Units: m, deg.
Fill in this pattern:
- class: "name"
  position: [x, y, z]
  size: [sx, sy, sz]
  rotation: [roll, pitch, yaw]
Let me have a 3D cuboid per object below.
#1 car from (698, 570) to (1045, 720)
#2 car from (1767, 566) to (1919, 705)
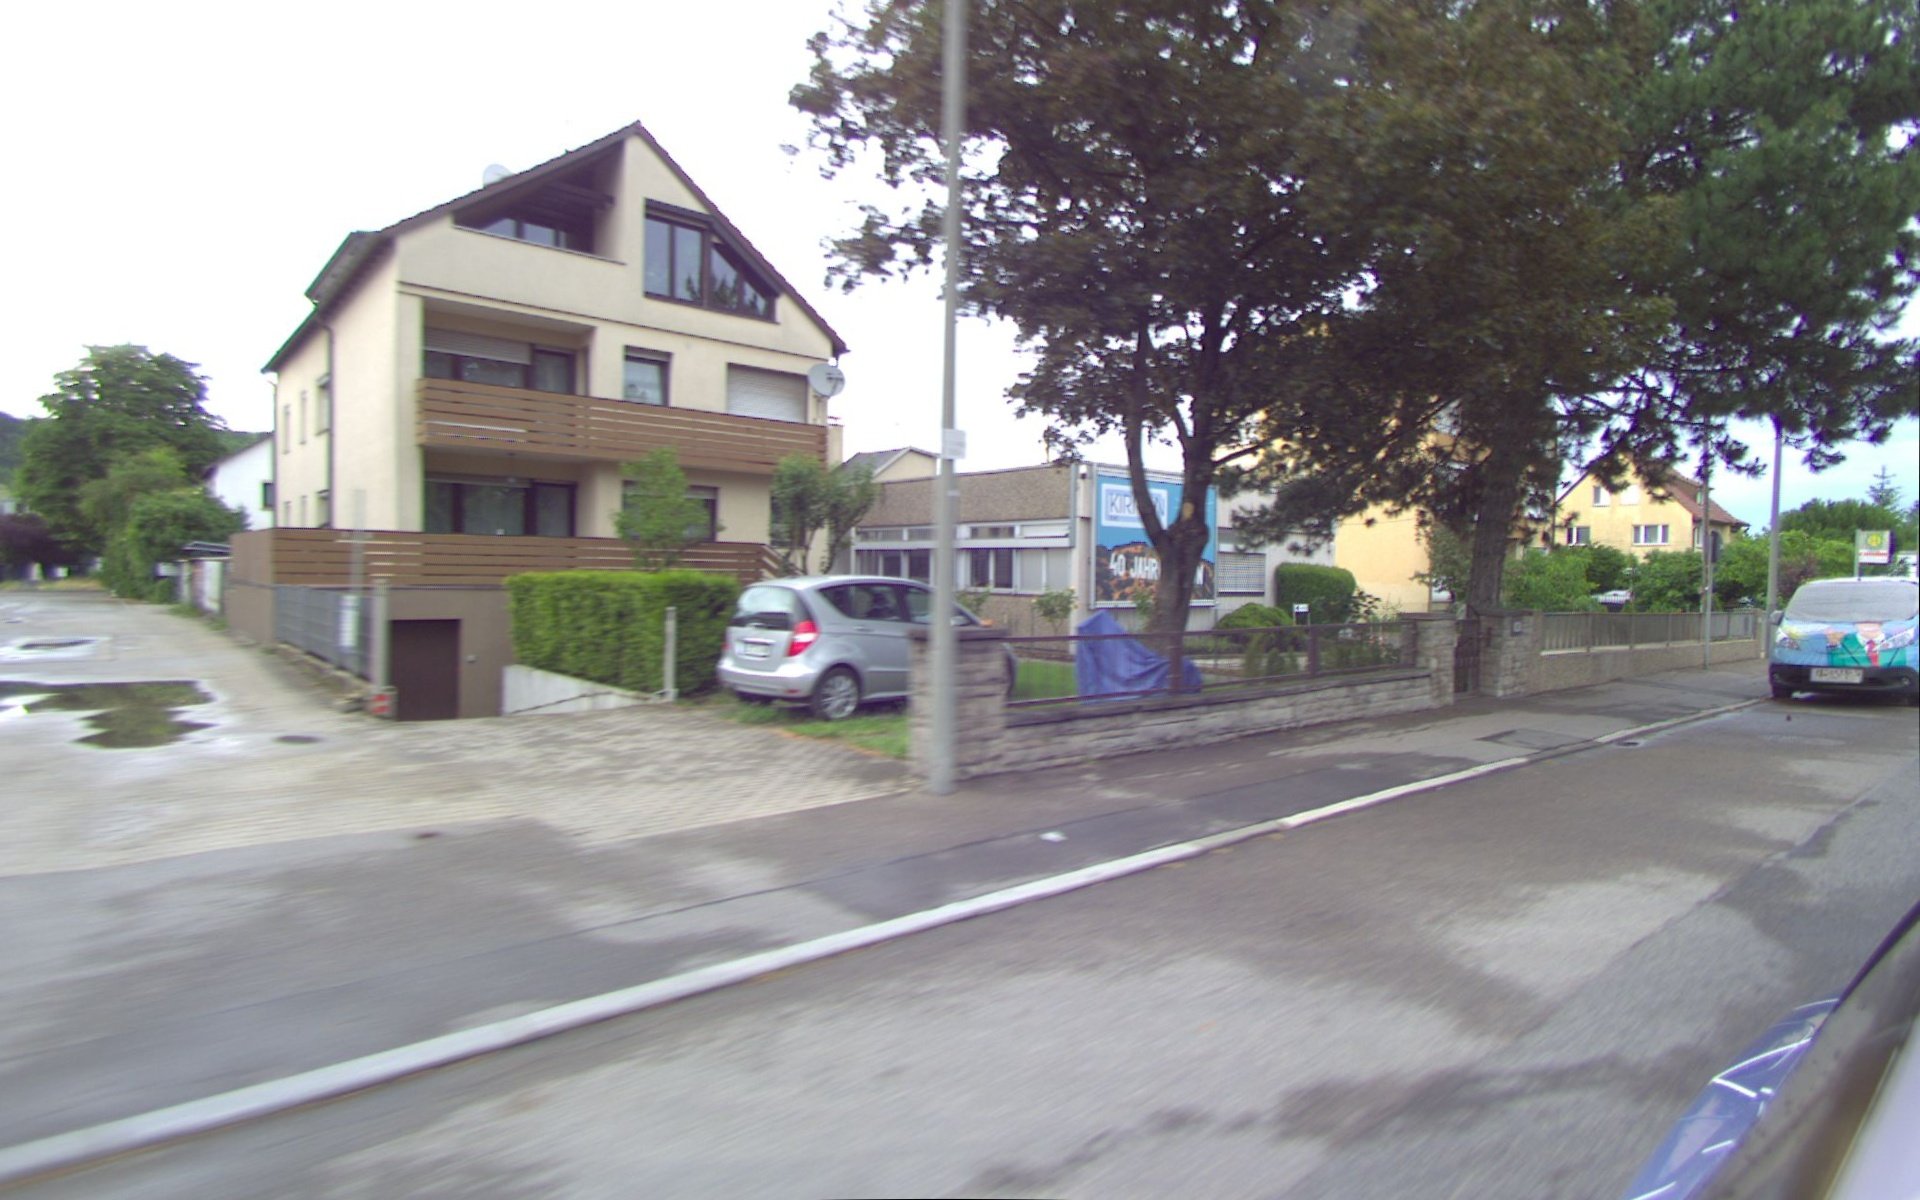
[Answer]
- class: "car"
  position: [-0.938, 0.427, 12.316]
  size: [1.745, 1.506, 4.052]
  rotation: [2, 2, 45]
- class: "car"
  position: [14.387, 0.460, 15.750]
  size: [5.453, 1.851, 1.735]
  rotation: [0, 0, -39]
